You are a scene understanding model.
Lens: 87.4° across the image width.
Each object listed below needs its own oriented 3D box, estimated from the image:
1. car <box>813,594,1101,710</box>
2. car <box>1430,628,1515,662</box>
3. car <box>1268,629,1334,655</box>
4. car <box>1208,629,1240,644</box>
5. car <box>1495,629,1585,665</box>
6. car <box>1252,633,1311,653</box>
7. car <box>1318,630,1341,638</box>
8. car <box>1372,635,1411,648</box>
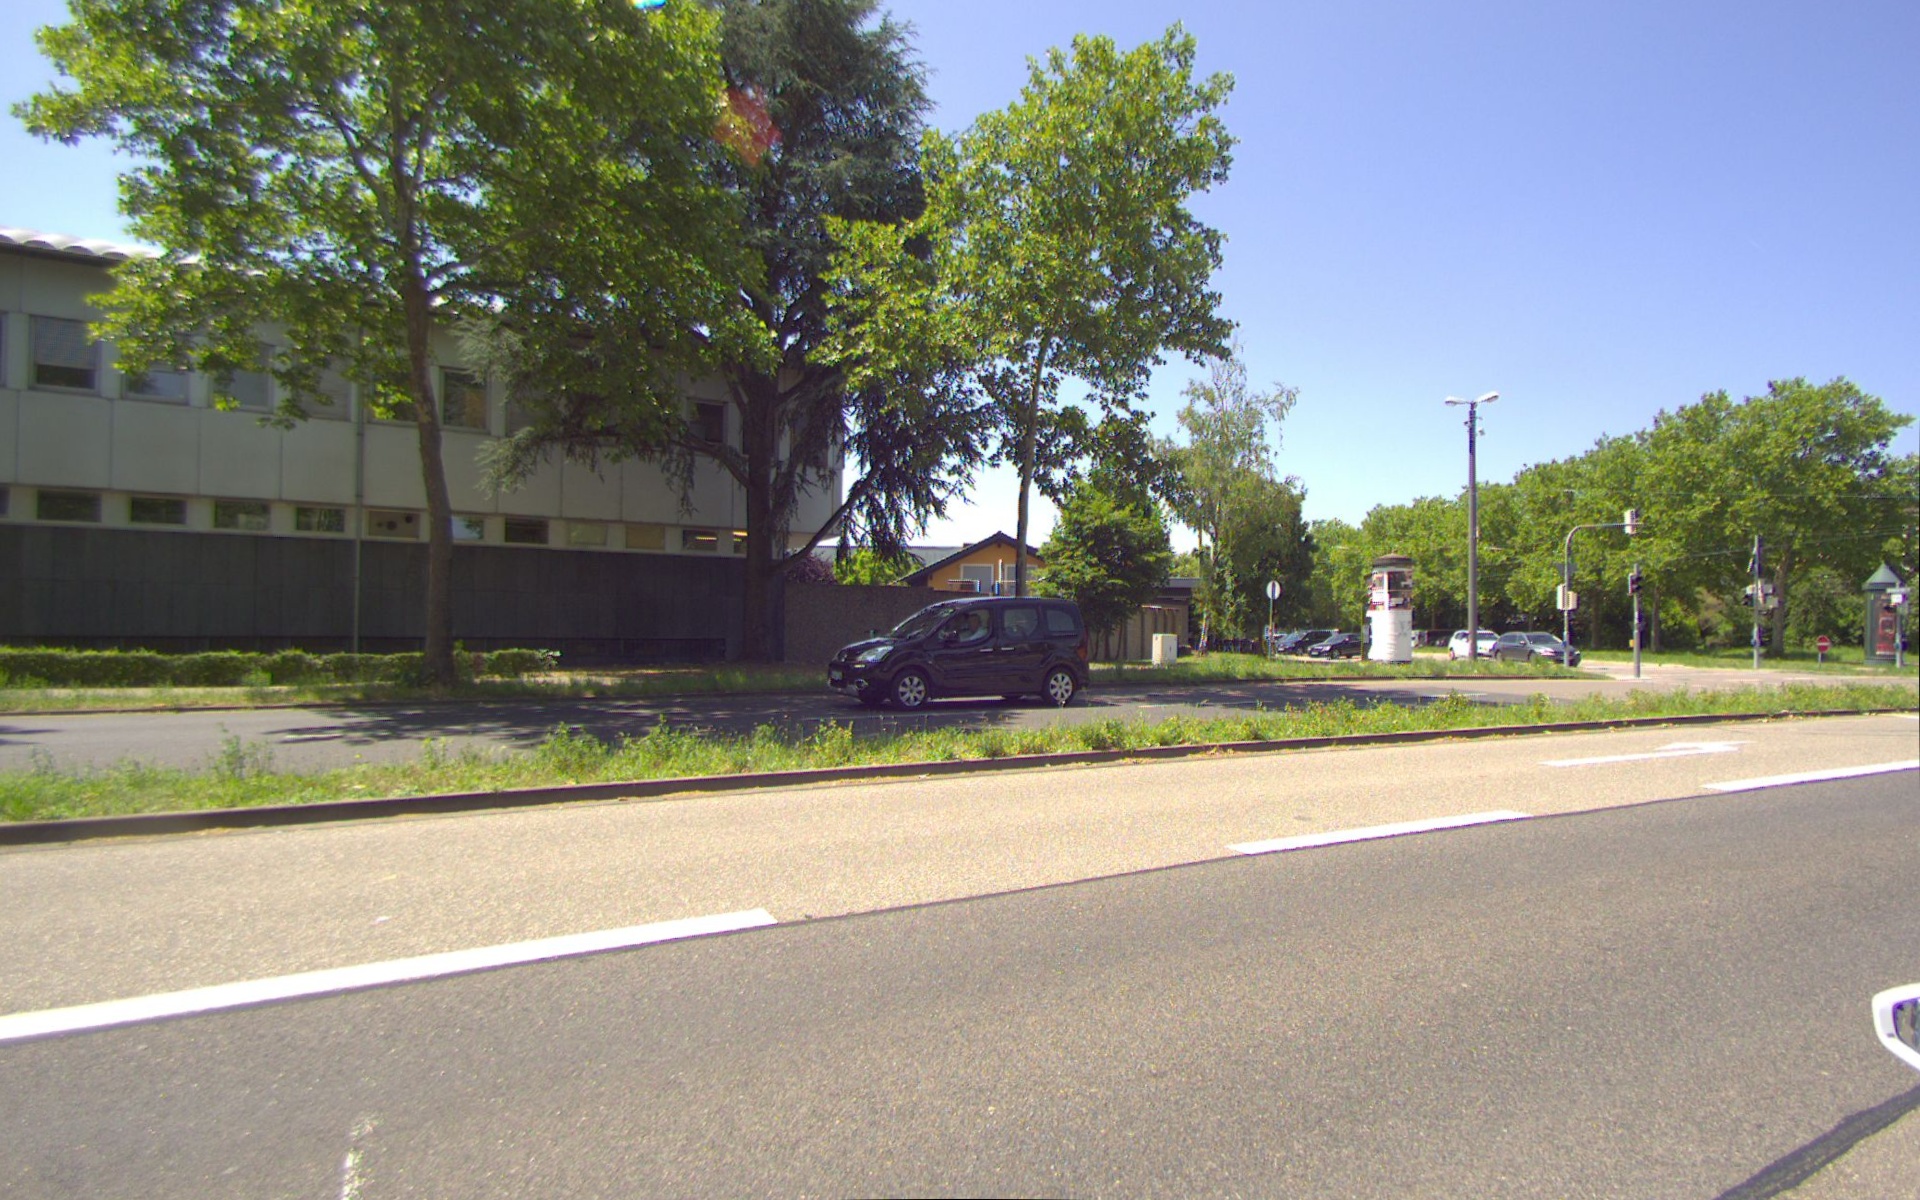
[{"bbox_3d":[-0.027,0.828,16.605,4.385,1.701,1.905,1,-1,-26],"label":"car"},{"bbox_3d":[25.628,2.219,50.415,2.172,1.626,4.463,0,-1,2],"label":"car"},{"bbox_3d":[22.699,2.801,66.779,4.138,1.672,1.773,1,-2,-26],"label":"car"},{"bbox_3d":[23.504,3.244,89.365,2.848,1.221,1.176,1,-1,-35],"label":"car"},{"bbox_3d":[25.059,2.003,43.539,1.729,1.476,3.994,0,-1,2],"label":"car"},{"bbox_3d":[24.348,3.272,76.144,4.004,1.442,1.936,1,-2,-24],"label":"car"},{"bbox_3d":[49.793,4.613,135.305,2.667,1.007,1.009,1,-1,-1],"label":"car"},{"bbox_3d":[45.938,4.426,106.932,3.481,1.415,1.500,1,-1,-2],"label":"car"}]
